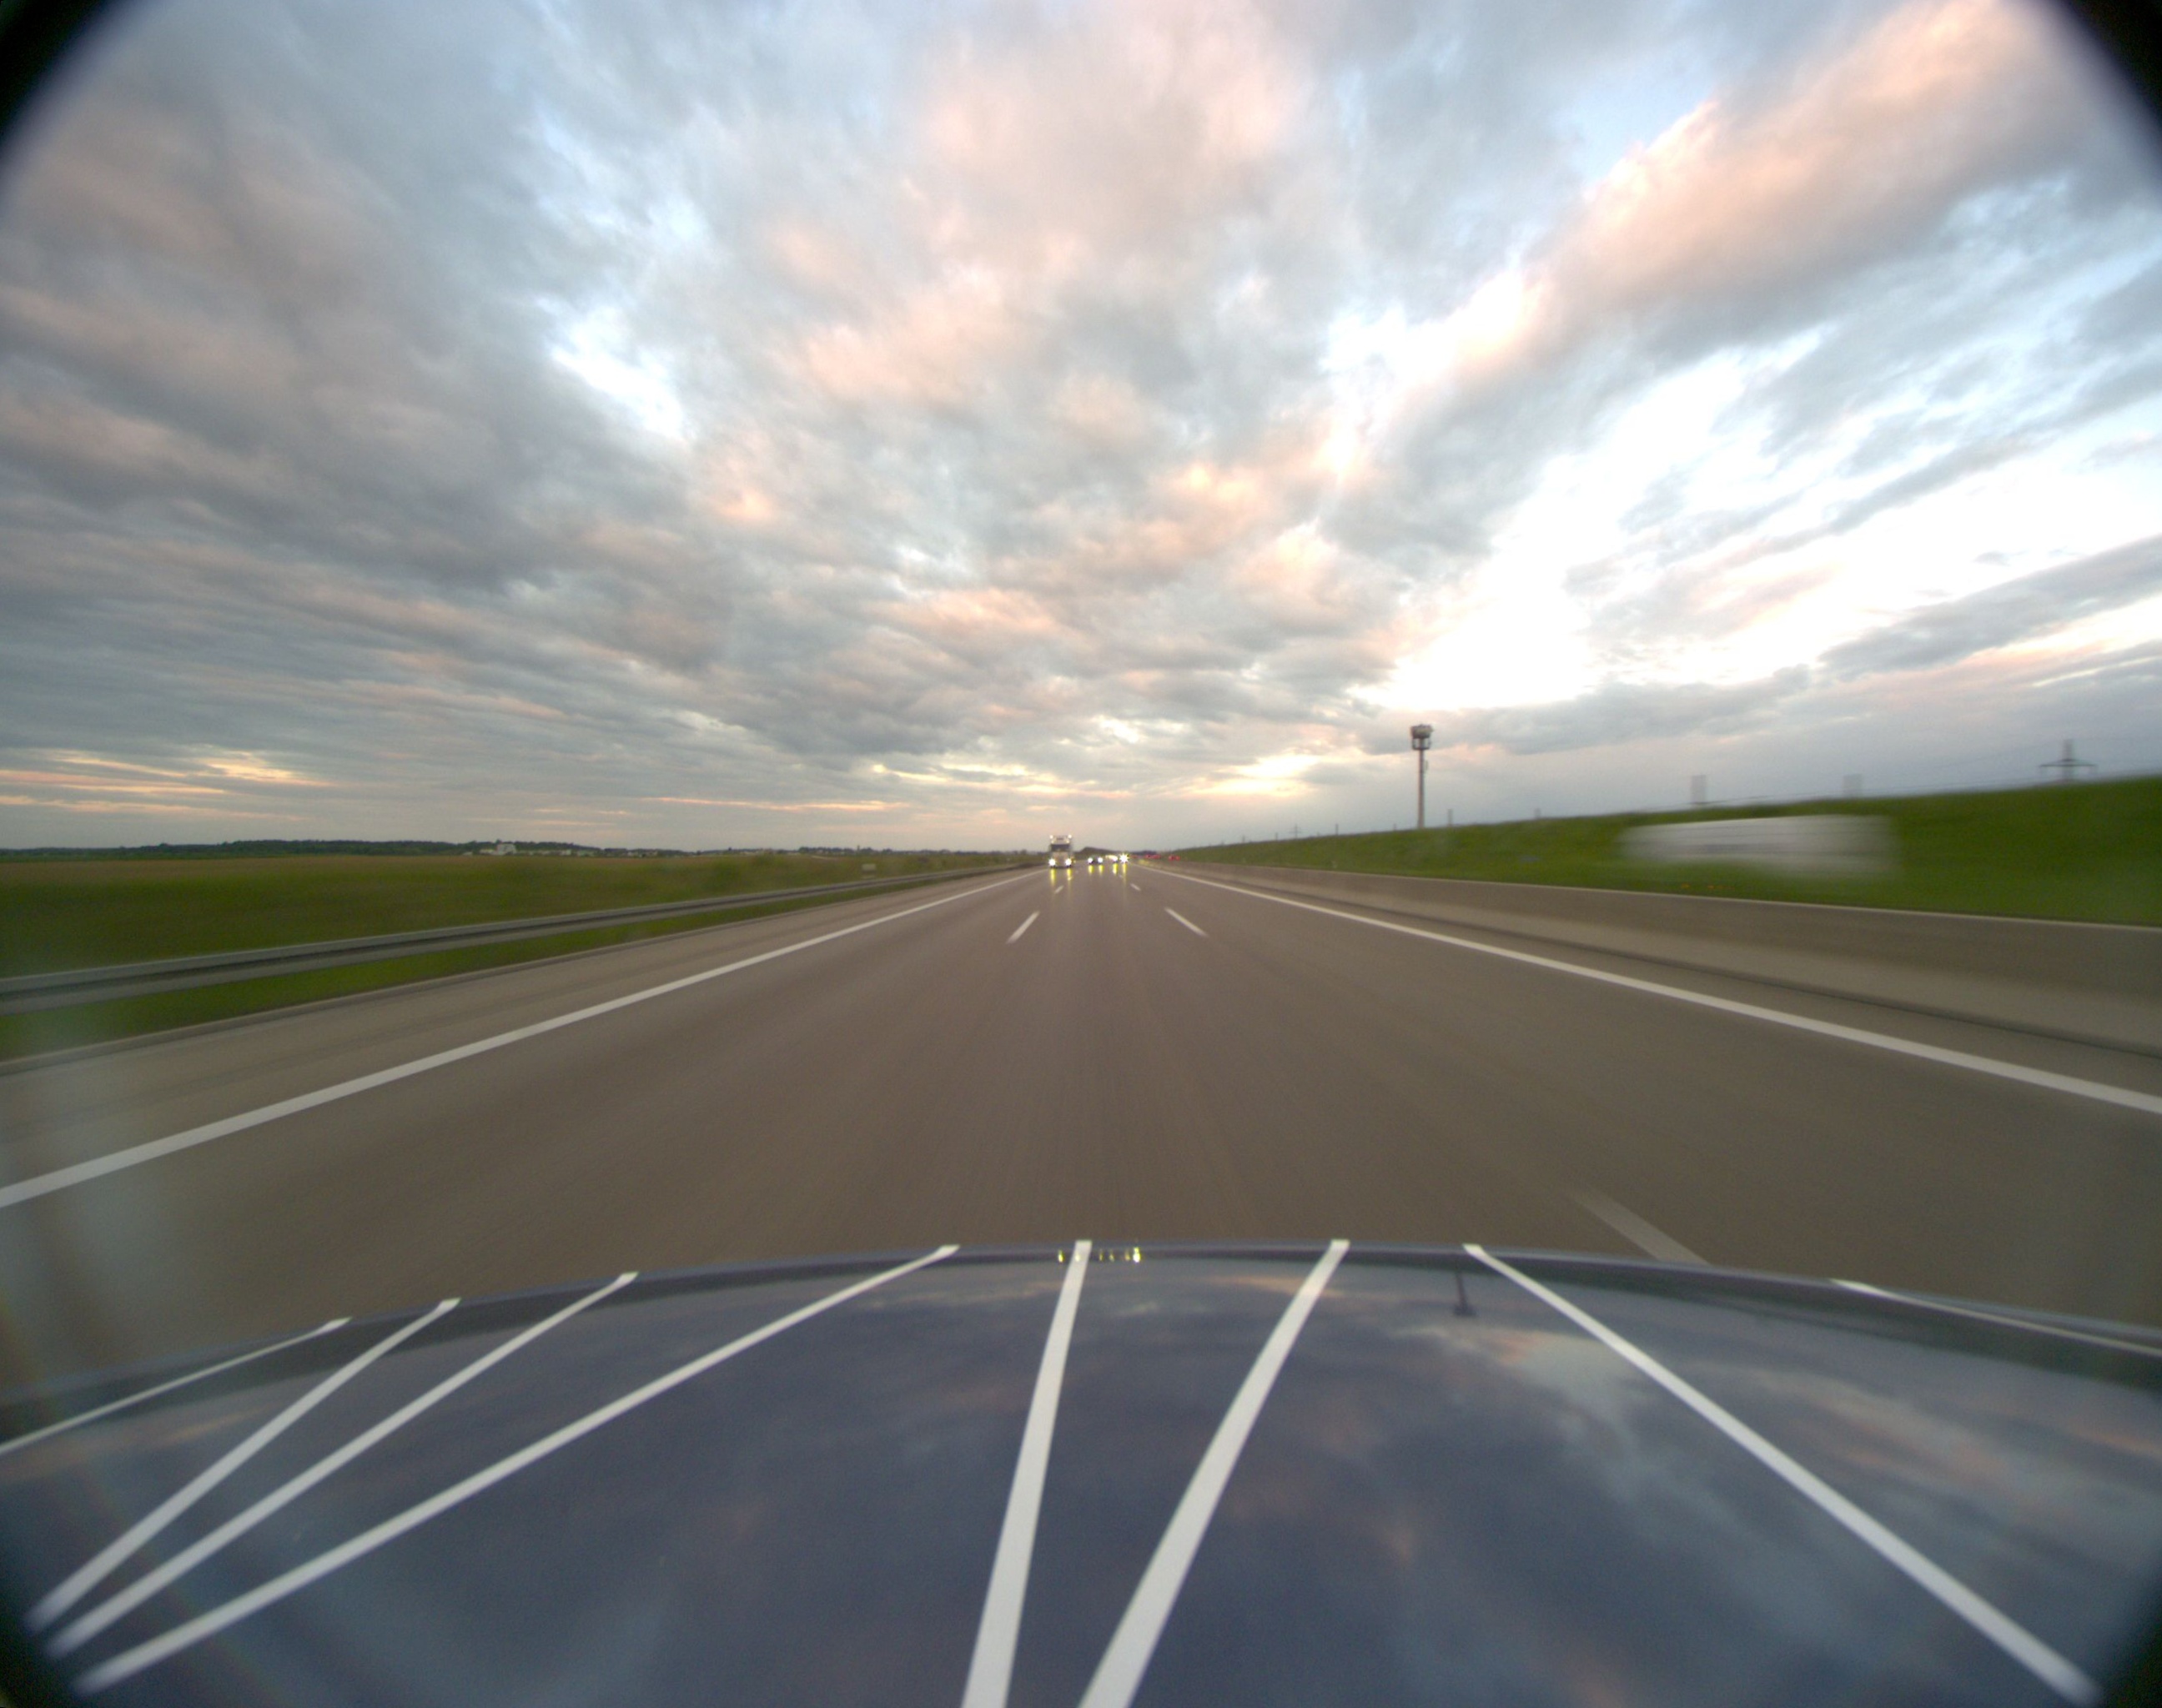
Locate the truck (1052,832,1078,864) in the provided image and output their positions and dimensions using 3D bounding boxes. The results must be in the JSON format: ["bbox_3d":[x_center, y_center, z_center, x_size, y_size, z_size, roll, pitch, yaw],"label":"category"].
[{"bbox_3d":[-1.996,-0.723,101.878,2.596,3.999,12.987,-1,0,2],"label":"truck"}]

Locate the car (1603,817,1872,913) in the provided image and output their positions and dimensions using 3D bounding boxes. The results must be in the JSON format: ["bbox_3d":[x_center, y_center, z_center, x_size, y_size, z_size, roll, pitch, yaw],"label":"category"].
[{"bbox_3d":[19.756,0.277,23.631,1.998,2.531,7.377,0,0,0],"label":"car"}]

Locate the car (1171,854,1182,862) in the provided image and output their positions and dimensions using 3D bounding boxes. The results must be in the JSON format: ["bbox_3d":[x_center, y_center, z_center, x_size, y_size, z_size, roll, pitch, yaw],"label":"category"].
[{"bbox_3d":[19.580,0.777,156.342,1.857,1.583,4.106,0,0,2],"label":"car"}]

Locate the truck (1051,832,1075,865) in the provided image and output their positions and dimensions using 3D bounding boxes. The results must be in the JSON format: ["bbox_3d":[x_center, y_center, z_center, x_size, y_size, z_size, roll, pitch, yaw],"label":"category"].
[{"bbox_3d":[-2.212,-0.664,95.424,2.596,3.999,5.860,-1,0,2],"label":"truck"}]

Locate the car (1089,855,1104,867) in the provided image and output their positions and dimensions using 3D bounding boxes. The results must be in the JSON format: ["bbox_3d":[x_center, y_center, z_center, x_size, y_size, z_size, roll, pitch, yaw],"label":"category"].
[{"bbox_3d":[2.322,0.976,112.691,1.998,1.652,4.851,-2,1,2],"label":"car"}]

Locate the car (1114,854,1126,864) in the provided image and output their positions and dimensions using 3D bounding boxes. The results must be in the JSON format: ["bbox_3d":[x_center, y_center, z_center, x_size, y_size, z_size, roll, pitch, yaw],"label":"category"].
[{"bbox_3d":[6.640,0.839,129.259,1.998,1.652,4.000,-2,1,2],"label":"car"}]
